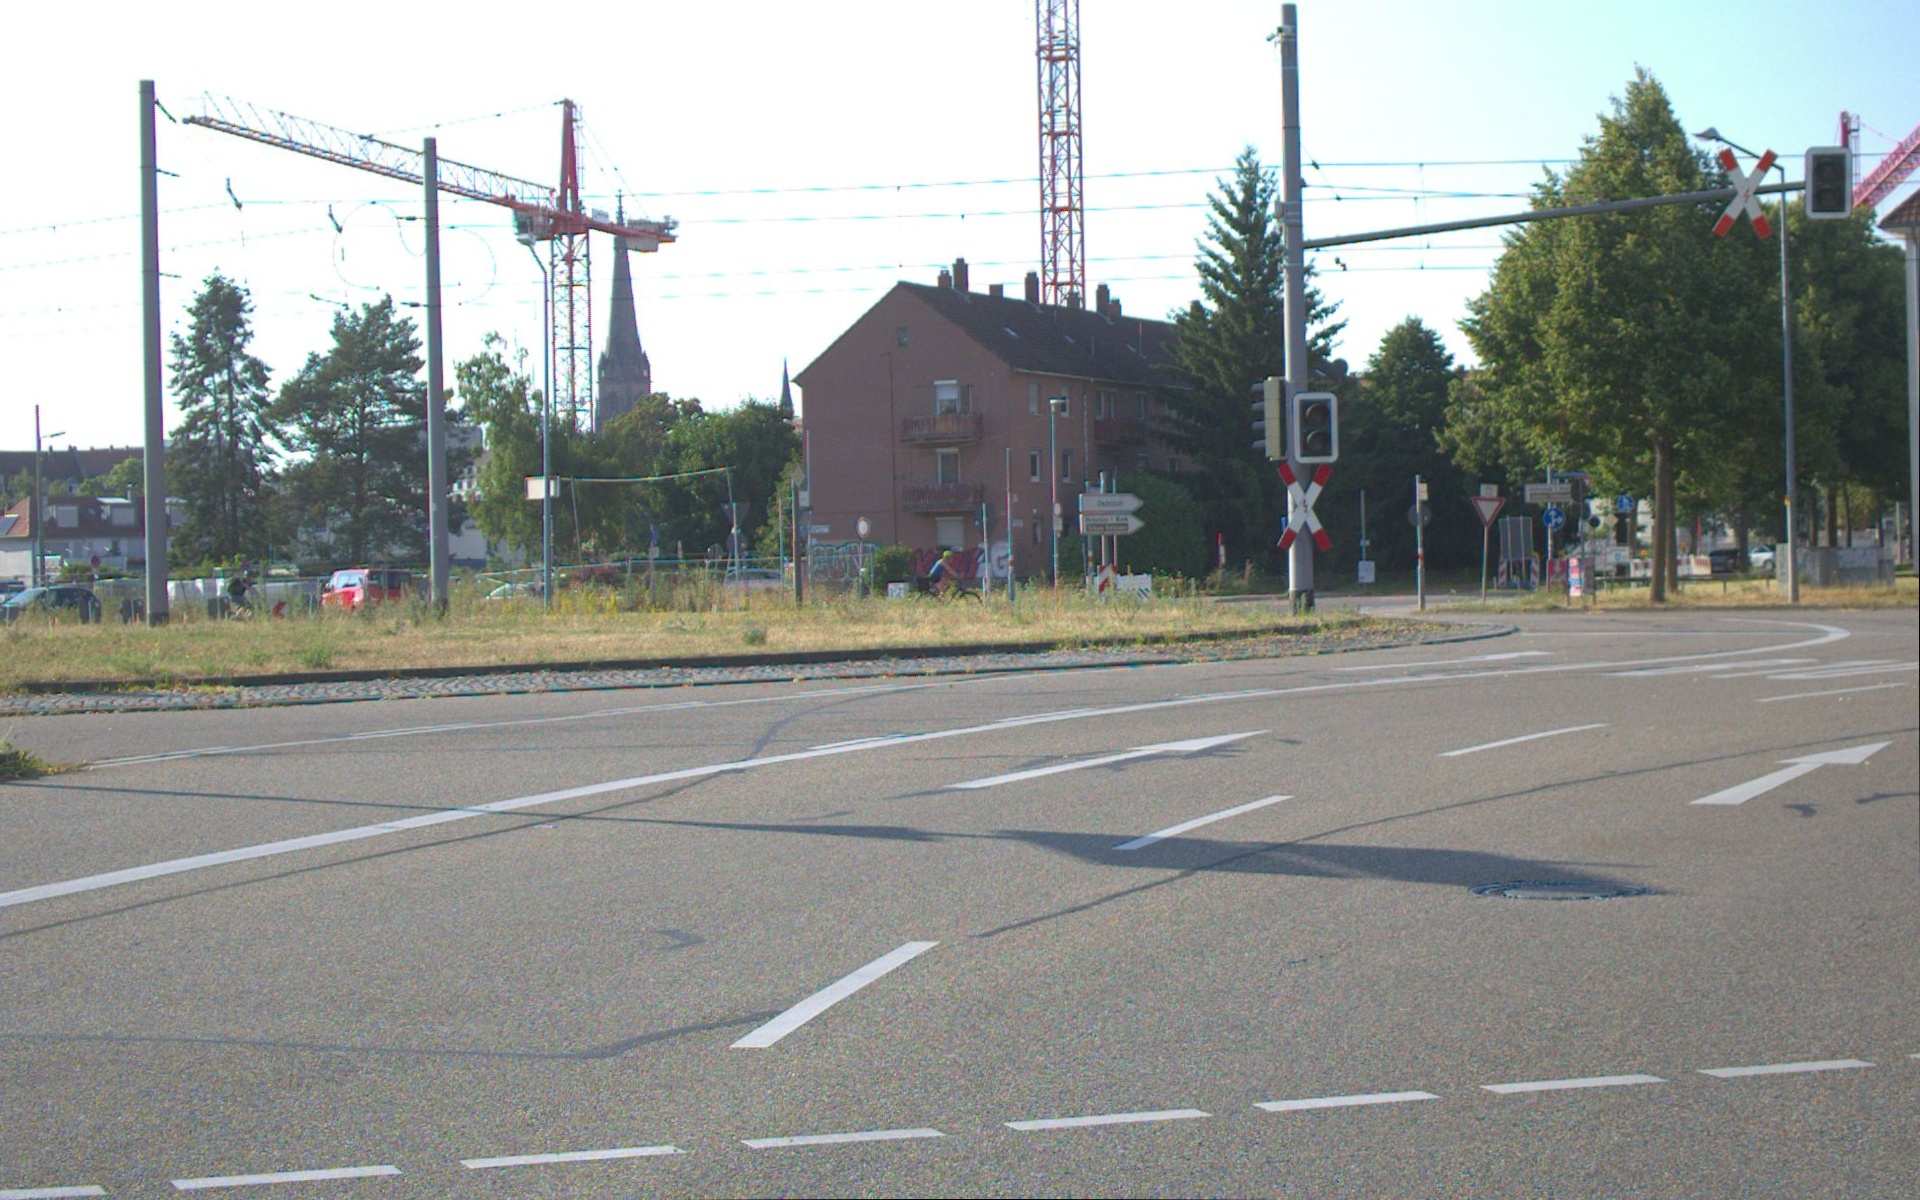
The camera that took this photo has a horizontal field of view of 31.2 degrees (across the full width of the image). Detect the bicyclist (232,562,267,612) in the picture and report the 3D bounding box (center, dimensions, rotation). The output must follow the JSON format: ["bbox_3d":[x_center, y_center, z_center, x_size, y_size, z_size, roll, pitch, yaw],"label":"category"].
[{"bbox_3d":[-20.027,-0.378,96.931,0.897,1.391,0.526,-1,1,-5],"label":"bicyclist"}]

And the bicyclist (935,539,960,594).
[{"bbox_3d":[-0.353,-0.932,95.710,0.622,1.506,0.419,-1,1,-5],"label":"bicyclist"}]

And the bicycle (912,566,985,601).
[{"bbox_3d":[-0.323,-0.464,95.735,1.987,0.915,0.430,-1,1,-6],"label":"bicycle"}]

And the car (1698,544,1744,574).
[{"bbox_3d":[35.188,-1.890,158.909,1.457,1.295,3.544,-1,1,23],"label":"car"}]

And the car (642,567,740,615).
[{"bbox_3d":[-11.649,-0.386,148.894,3.812,2.007,1.670,-1,0,19],"label":"car"}]

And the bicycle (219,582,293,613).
[{"bbox_3d":[-19.829,-0.083,96.901,1.987,0.822,0.430,-1,1,-6],"label":"bicycle"}]

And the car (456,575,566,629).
[{"bbox_3d":[-17.307,0.075,132.606,3.812,2.007,1.670,-1,0,19],"label":"car"}]

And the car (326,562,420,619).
[{"bbox_3d":[-19.889,-0.334,116.391,1.919,1.847,4.000,-2,1,-28],"label":"car"}]
